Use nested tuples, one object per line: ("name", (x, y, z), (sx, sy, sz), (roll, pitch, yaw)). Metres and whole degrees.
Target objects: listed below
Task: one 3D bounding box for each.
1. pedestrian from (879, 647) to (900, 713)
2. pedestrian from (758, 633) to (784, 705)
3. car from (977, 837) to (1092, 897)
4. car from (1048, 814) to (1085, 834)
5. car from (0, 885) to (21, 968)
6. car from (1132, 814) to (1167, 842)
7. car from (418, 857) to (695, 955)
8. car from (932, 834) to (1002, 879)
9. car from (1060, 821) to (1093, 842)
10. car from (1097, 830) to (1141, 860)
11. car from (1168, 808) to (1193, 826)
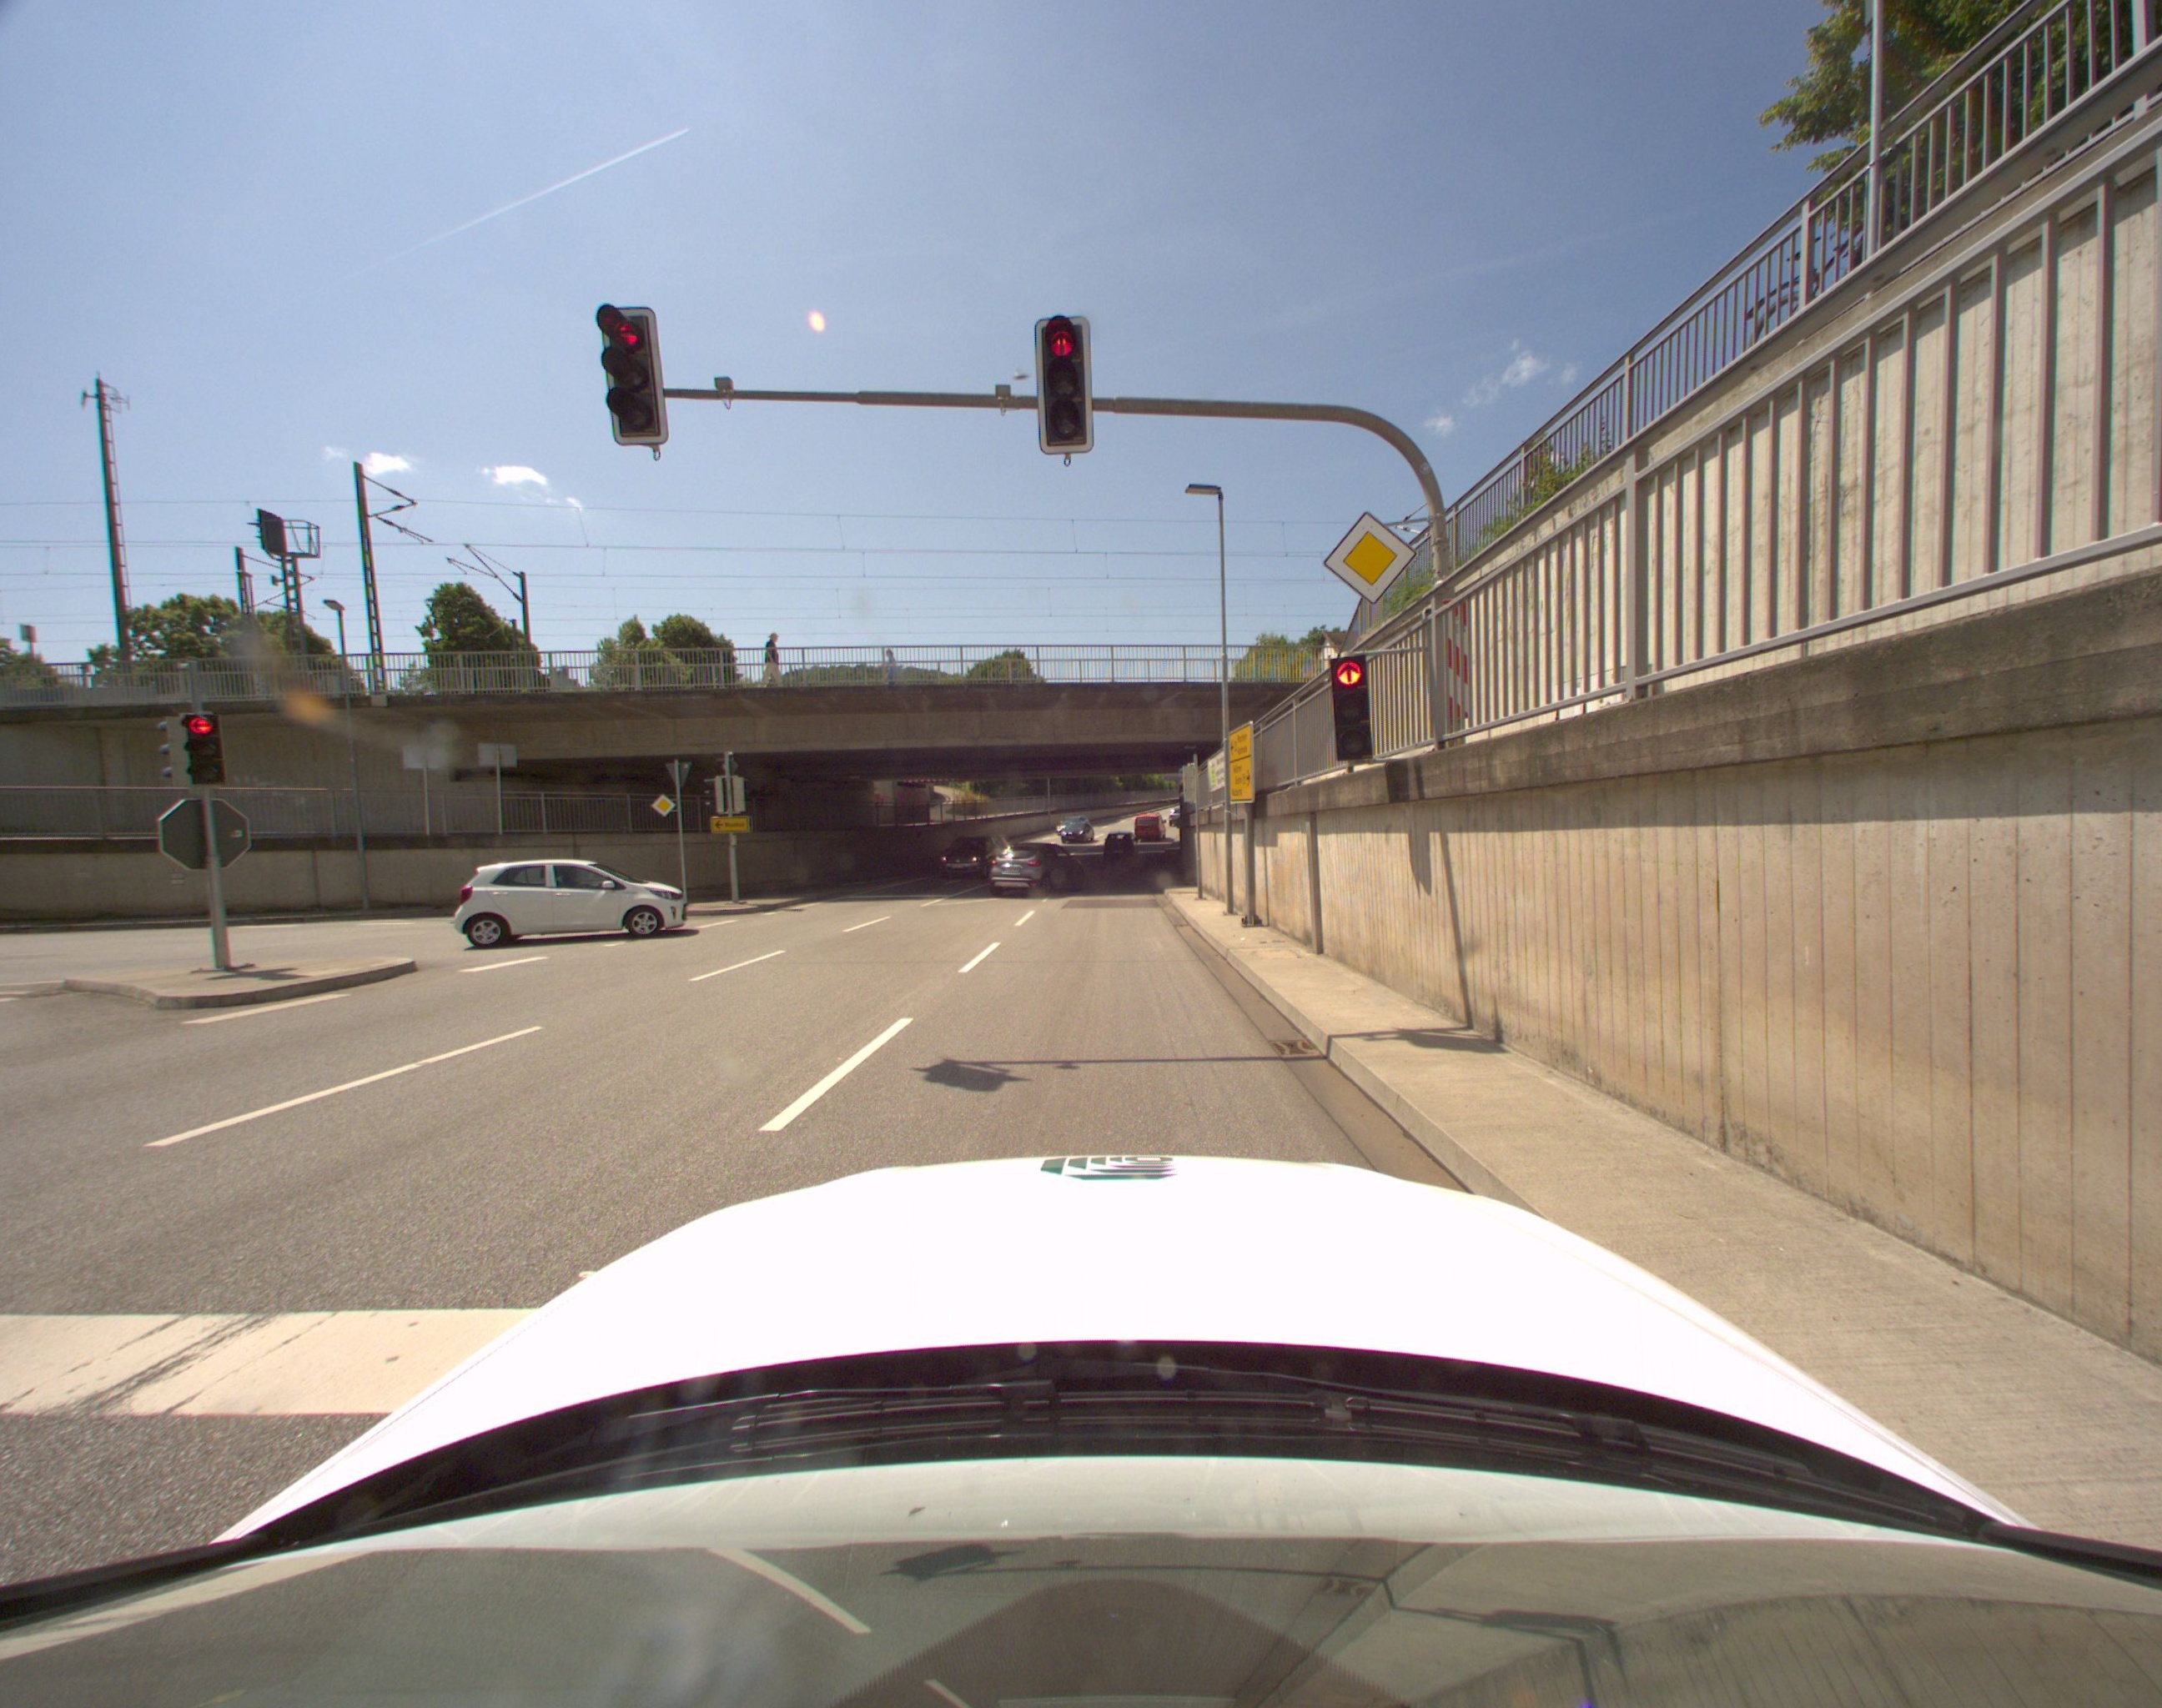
("pedestrian", (-6.419, -5.827, 27.267), (0.538, 2.081, 0.534), (-2, 0, -5))
("pedestrian", (-9.516, -5.684, 25.019), (0.576, 2.081, 0.533), (-2, 0, -9))
("car", (-1.333, 0.336, 25.044), (1.976, 1.588, 4.022), (0, 2, 22))
("car", (-1.148, -2.477, 67.478), (1.978, 1.588, 4.018), (-1, 2, 16))
("car", (-20.152, 1.316, 12.874), (3.983, 1.374, 1.763), (-2, 2, -7))
("car", (5.024, -1.940, 59.214), (1.860, 1.932, 4.736), (-1, 2, 12))
("car", (-9.494, 0.877, 15.152), (4.003, 1.420, 1.719), (-2, 2, -22))
("car", (-4.610, 0.054, 33.450), (1.984, 1.627, 4.006), (-1, 2, 4))
("car", (-0.287, -1.669, 58.772), (1.772, 1.436, 4.009), (-1, 2, 7))
("car", (2.138, -0.544, 44.592), (1.982, 1.508, 4.010), (-1, 2, 8))
("car", (8.988, -3.340, 73.657), (1.792, 1.617, 4.015), (-1, 2, 13))
